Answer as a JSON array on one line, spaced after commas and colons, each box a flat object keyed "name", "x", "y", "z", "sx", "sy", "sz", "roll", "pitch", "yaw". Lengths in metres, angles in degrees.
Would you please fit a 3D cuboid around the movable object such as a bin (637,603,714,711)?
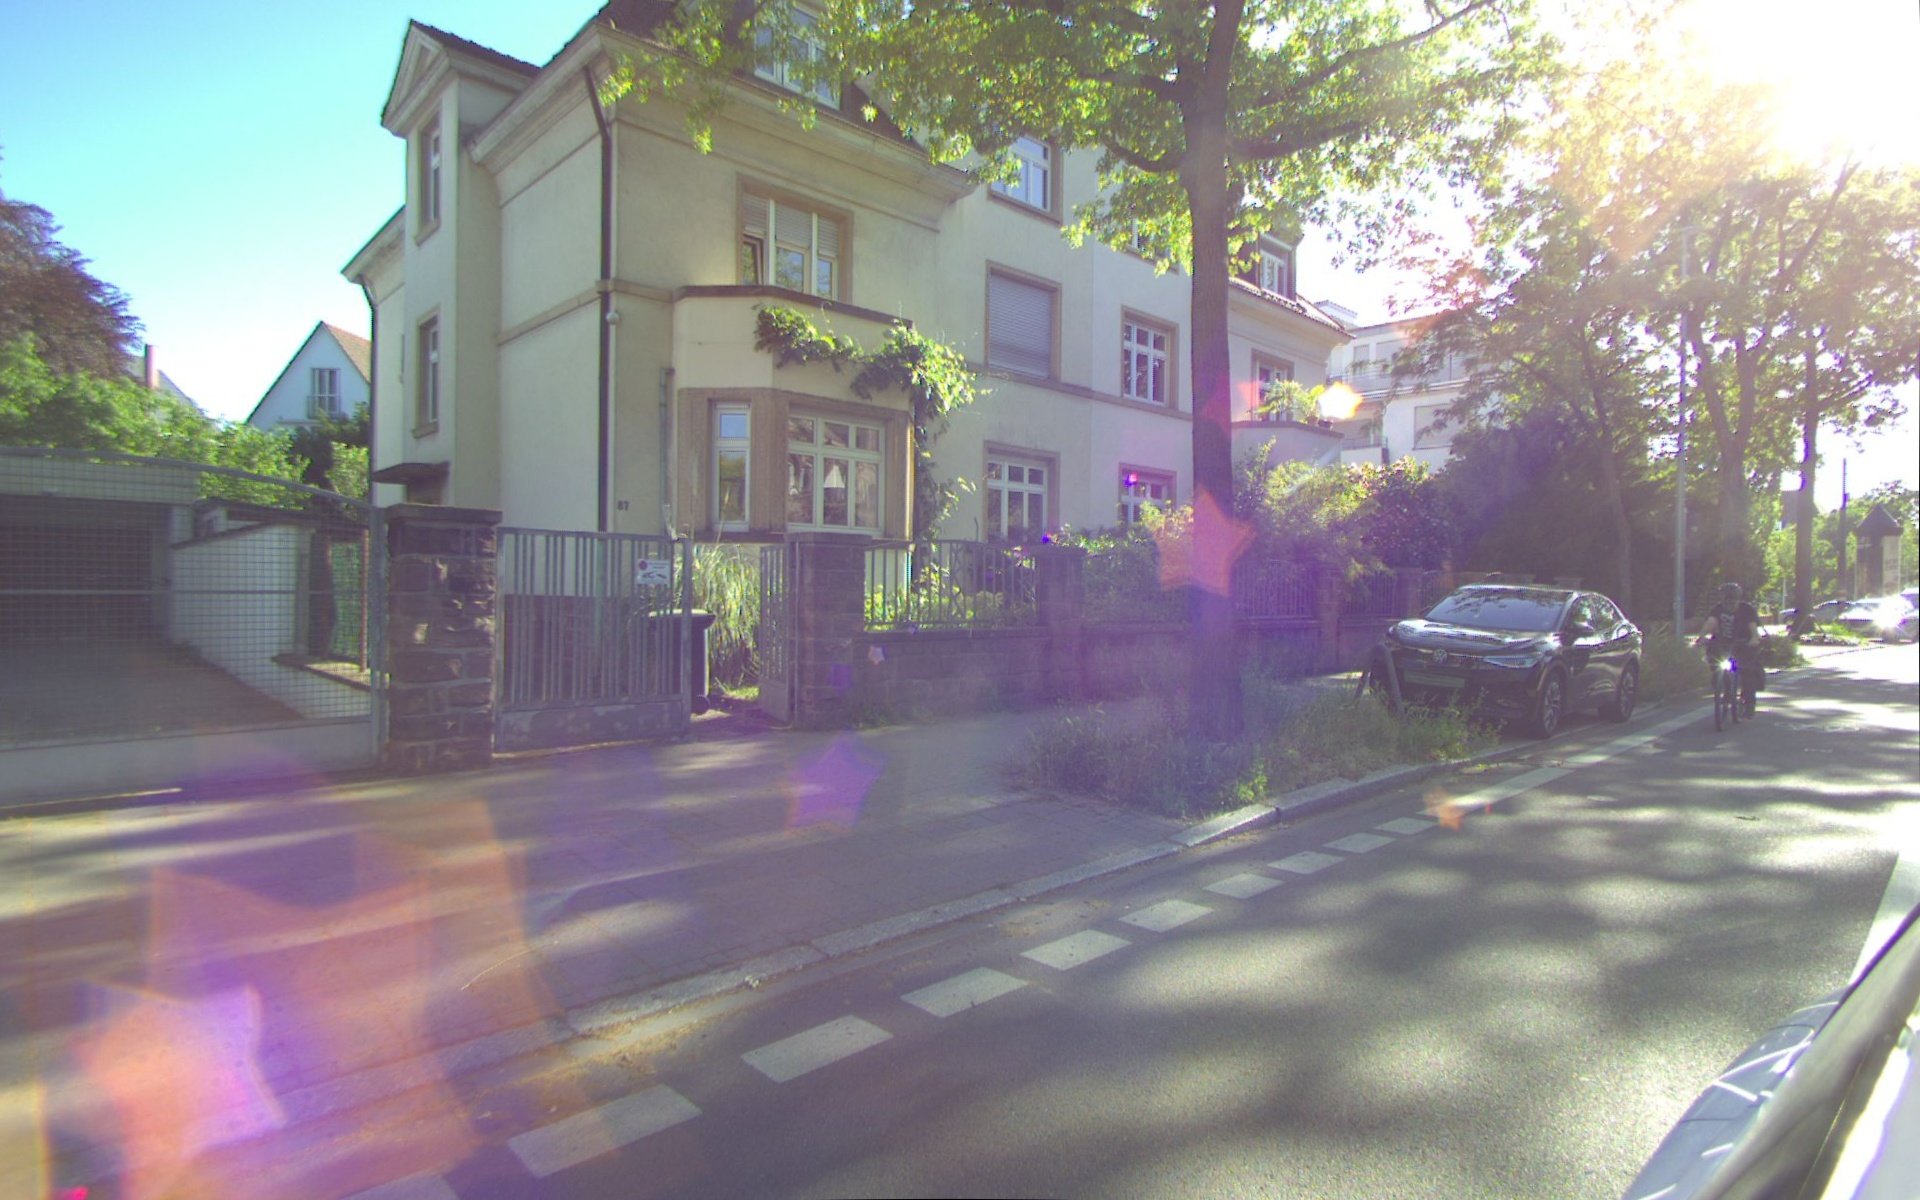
[{"name": "movable object such as a bin", "x": -3.063, "y": 0.581, "z": 10.844, "sx": 0.697, "sy": 1.070, "sz": 1.093, "roll": 0, "pitch": 0, "yaw": -20}]

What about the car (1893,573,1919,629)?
[{"name": "car", "x": 36.790, "y": 0.049, "z": 38.083, "sx": 4.503, "sy": 2.039, "sz": 1.997, "roll": 0, "pitch": 1, "yaw": -41}]

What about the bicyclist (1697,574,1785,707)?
[{"name": "bicyclist", "x": 9.316, "y": 0.454, "z": 12.072, "sx": 1.095, "sy": 1.506, "sz": 0.622, "roll": 0, "pitch": 0, "yaw": -41}]

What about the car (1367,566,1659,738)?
[{"name": "car", "x": 6.694, "y": 0.495, "z": 12.076, "sx": 4.021, "sy": 1.626, "sz": 1.743, "roll": 0, "pitch": 4, "yaw": -42}]

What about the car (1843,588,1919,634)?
[{"name": "car", "x": 31.555, "y": 0.337, "z": 34.422, "sx": 3.930, "sy": 1.469, "sz": 1.785, "roll": 0, "pitch": 1, "yaw": -41}]

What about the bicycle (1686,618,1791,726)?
[{"name": "bicycle", "x": 9.306, "y": 0.813, "z": 12.074, "sx": 1.783, "sy": 1.158, "sz": 0.644, "roll": 0, "pitch": 0, "yaw": -41}]
